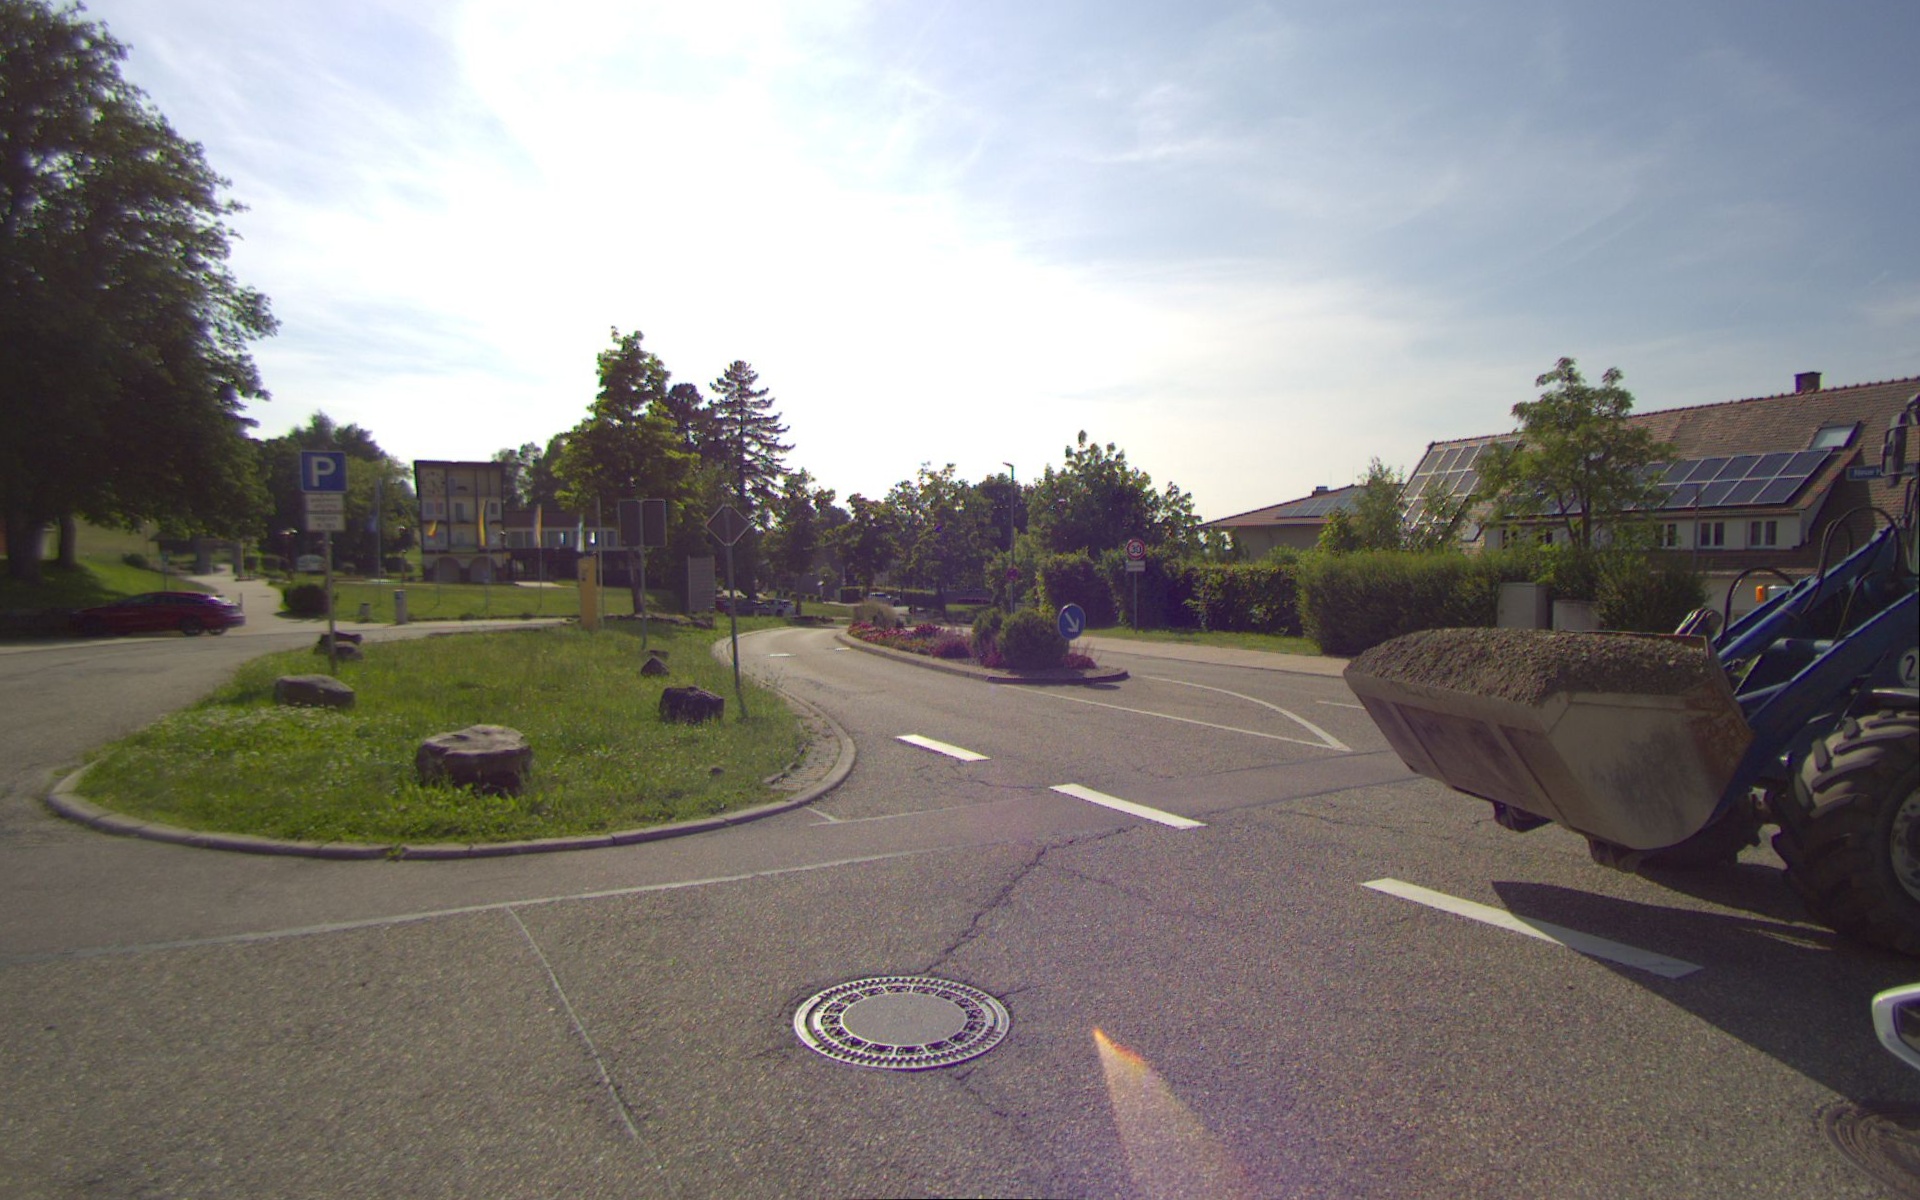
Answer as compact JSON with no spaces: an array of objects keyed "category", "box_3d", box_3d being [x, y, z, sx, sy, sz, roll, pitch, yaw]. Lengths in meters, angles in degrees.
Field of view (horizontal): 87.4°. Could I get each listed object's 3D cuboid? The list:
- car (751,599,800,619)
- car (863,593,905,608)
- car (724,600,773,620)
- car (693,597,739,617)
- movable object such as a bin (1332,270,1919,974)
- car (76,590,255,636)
[{"category":"car","box_3d":[-16.161,0.798,87.912,3.866,1.630,1.775,2,0,25]},{"category":"car","box_3d":[-9.100,0.066,119.962,4.678,1.555,1.982,-1,6,-33]},{"category":"car","box_3d":[-17.695,0.830,84.143,3.643,1.452,1.775,2,0,25]},{"category":"car","box_3d":[-19.737,0.584,81.205,3.146,1.490,1.775,2,0,23]},{"category":"movable object such as a bin","box_3d":[4.711,0.093,4.950,5.002,2.806,2.000,1,1,4]},{"category":"car","box_3d":[-25.740,0.426,32.689,4.166,1.417,1.819,1,0,-14]}]
